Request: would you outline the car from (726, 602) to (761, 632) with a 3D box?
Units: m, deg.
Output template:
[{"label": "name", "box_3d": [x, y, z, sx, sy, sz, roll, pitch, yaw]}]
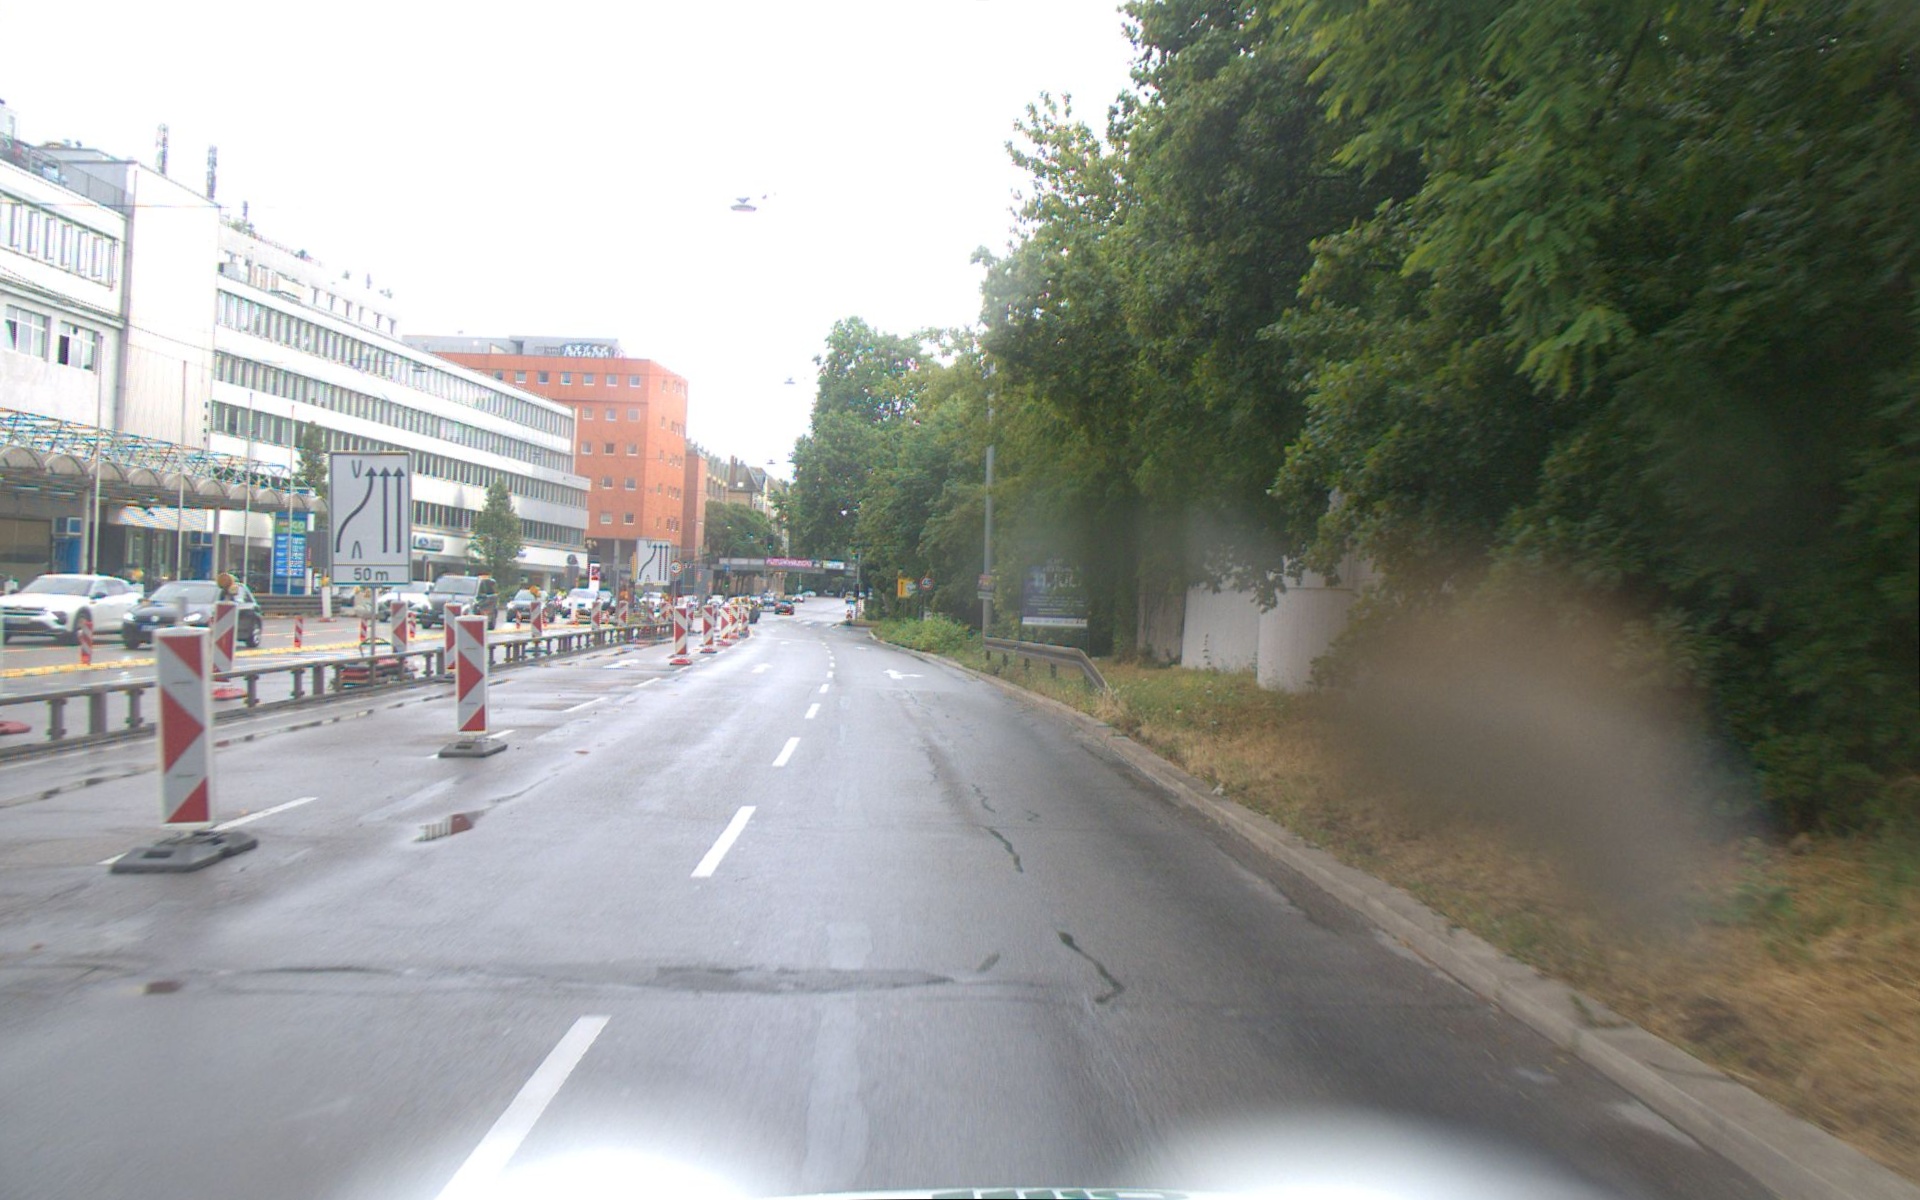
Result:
[{"label": "car", "box_3d": [-14.921, 1.162, 114.237, 2.080, 1.764, 4.194, 5, 1, -5]}]

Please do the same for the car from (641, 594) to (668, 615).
[{"label": "car", "box_3d": [-26.879, 0.431, 145.635, 1.941, 1.737, 4.825, 2, 0, -6]}]

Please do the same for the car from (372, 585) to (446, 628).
[{"label": "car", "box_3d": [-21.846, 0.246, 65.776, 1.713, 1.613, 4.261, 1, 0, -4]}]

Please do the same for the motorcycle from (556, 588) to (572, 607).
[{"label": "motorcycle", "box_3d": [-24.420, -0.149, 102.012, 0.567, 1.121, 2.026, 1, 0, -4]}]

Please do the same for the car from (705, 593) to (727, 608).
[{"label": "car", "box_3d": [-27.502, 0.097, 186.709, 1.771, 1.585, 4.300, 2, -1, 0]}]

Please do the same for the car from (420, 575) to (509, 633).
[{"label": "car", "box_3d": [-17.792, 0.141, 59.602, 1.954, 1.970, 5.226, 1, 0, -4]}]

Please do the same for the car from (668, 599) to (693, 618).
[{"label": "car", "box_3d": [-23.432, 0.697, 138.745, 1.702, 1.428, 4.284, 3, -1, -6]}]

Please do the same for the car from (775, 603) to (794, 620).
[{"label": "car", "box_3d": [-18.564, 1.259, 175.322, 1.728, 1.726, 3.703, 1, 0, -3]}]

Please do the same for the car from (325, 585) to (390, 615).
[{"label": "car", "box_3d": [-37.059, 0.018, 101.868, 1.809, 1.810, 4.733, 1, 0, 6]}]

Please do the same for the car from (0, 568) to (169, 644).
[{"label": "car", "box_3d": [-19.356, 0.130, 36.339, 1.747, 1.534, 4.521, 1, 0, 0]}]

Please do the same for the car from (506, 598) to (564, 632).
[{"label": "car", "box_3d": [-19.704, 0.702, 76.834, 1.815, 1.492, 4.703, 1, 0, -5]}]

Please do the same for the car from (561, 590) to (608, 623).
[{"label": "car", "box_3d": [-21.111, 0.348, 93.133, 1.900, 1.719, 4.575, 2, 0, -5]}]

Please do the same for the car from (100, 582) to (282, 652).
[{"label": "car", "box_3d": [-16.502, 0.353, 35.792, 1.761, 1.375, 4.810, 1, 0, -2]}]
